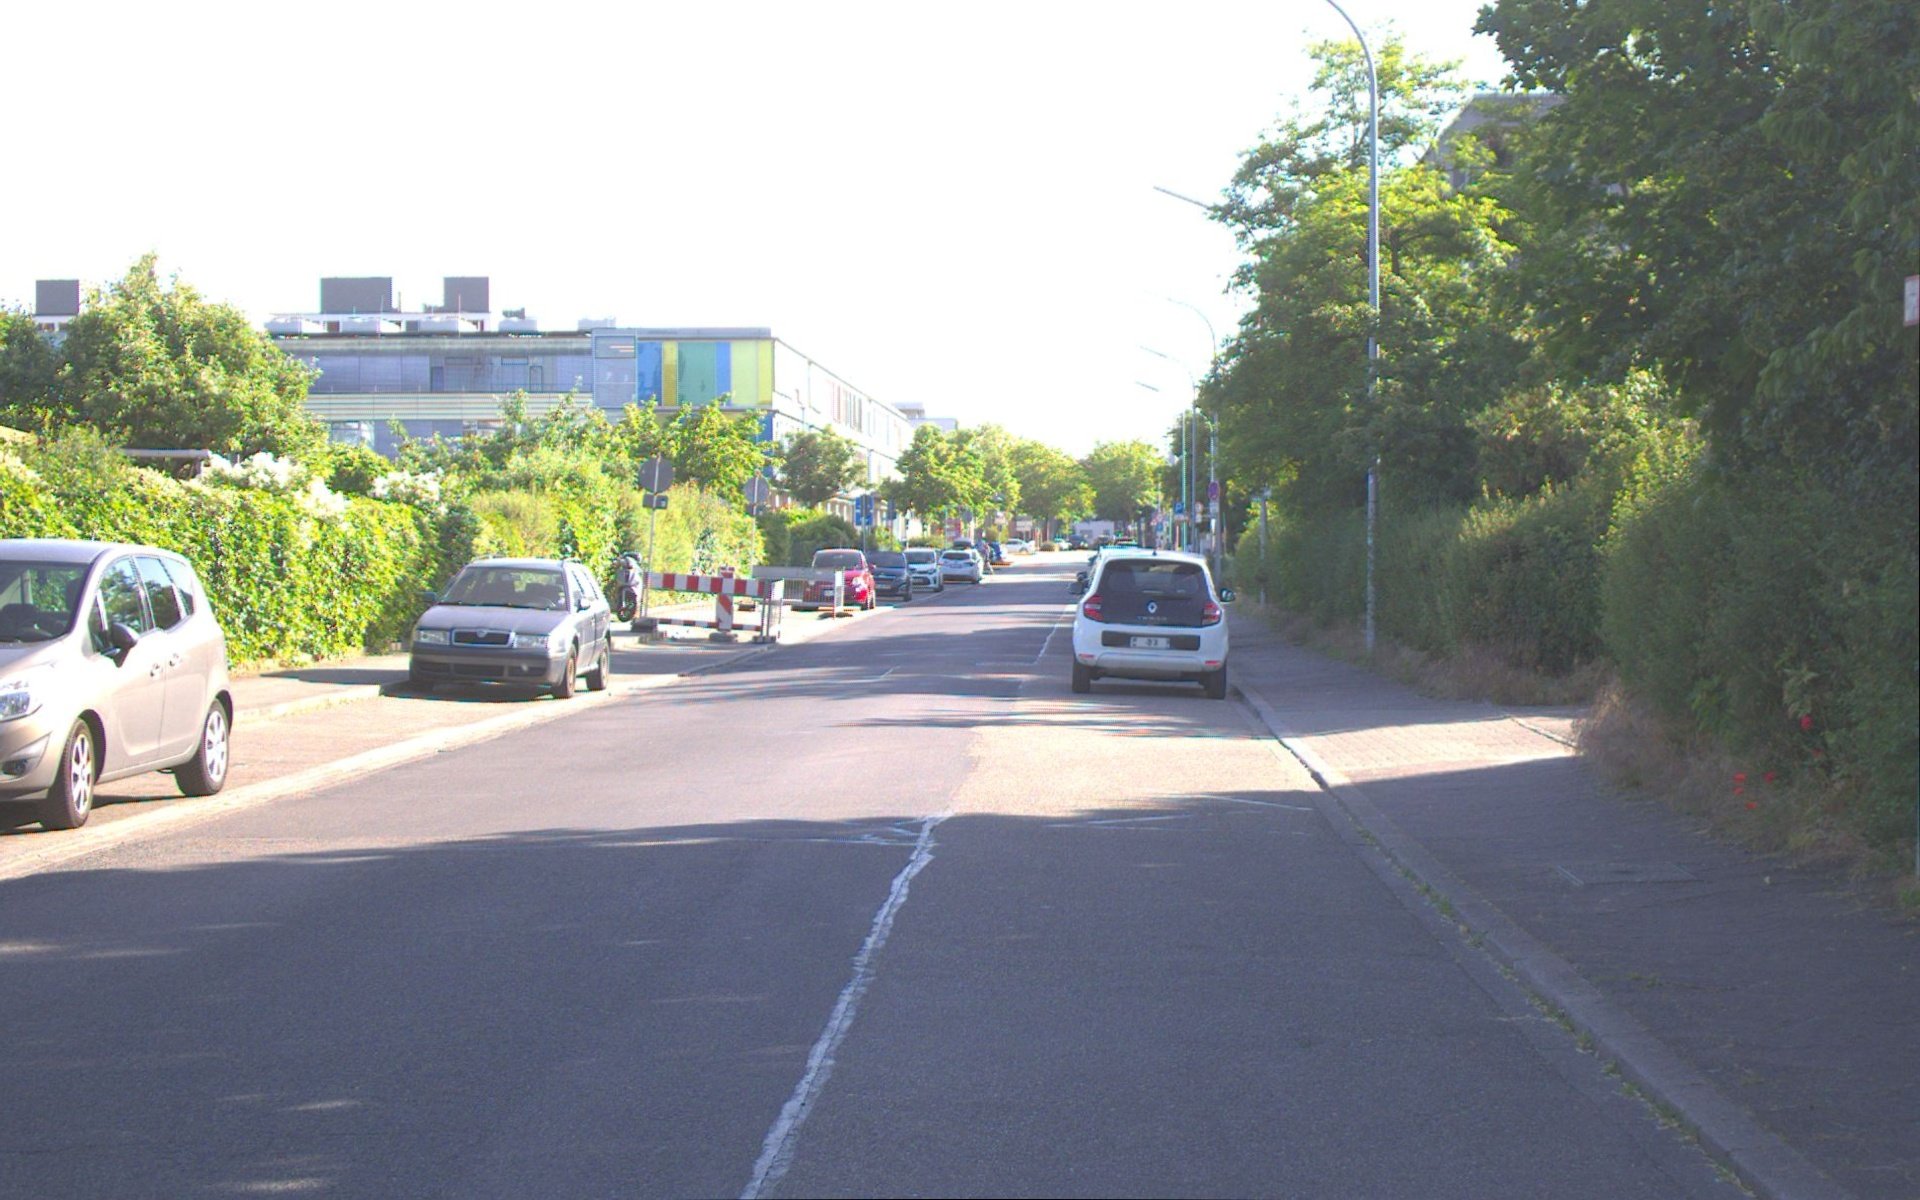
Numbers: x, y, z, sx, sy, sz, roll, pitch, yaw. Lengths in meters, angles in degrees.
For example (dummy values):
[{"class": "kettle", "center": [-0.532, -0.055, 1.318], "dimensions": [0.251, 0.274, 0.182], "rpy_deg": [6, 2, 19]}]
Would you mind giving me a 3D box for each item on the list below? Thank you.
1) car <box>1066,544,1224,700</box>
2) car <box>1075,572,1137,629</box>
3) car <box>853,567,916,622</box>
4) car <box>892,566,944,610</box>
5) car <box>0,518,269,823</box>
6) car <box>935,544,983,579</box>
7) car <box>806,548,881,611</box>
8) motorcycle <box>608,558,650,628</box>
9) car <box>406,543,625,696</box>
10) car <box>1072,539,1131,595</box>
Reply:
[{"class": "car", "center": [2.015, 0.219, 37.732], "dimensions": [1.556, 1.533, 3.555], "rpy_deg": [4, 0, 3]}, {"class": "car", "center": [4.288, -0.001, 100.552], "dimensions": [1.623, 1.521, 3.901], "rpy_deg": [4, 0, 3]}, {"class": "car", "center": [-2.253, -0.175, 102.855], "dimensions": [1.560, 1.489, 3.570], "rpy_deg": [4, 0, 2]}, {"class": "car", "center": [-1.449, -0.419, 119.879], "dimensions": [1.560, 1.489, 3.758], "rpy_deg": [1, 0, 2]}, {"class": "car", "center": [-5.524, 0.322, 20.291], "dimensions": [1.644, 1.594, 4.311], "rpy_deg": [3, 0, 4]}, {"class": "car", "center": [-0.027, -1.659, 149.190], "dimensions": [1.854, 1.423, 4.134], "rpy_deg": [3, 0, 2]}, {"class": "car", "center": [-2.860, -0.510, 84.659], "dimensions": [1.560, 1.489, 3.570], "rpy_deg": [1, 0, 2]}, {"class": "motorcycle", "center": [-6.144, -0.125, 63.805], "dimensions": [0.566, 1.264, 2.091], "rpy_deg": [3, 0, -1]}, {"class": "car", "center": [-4.831, 0.189, 37.886], "dimensions": [1.643, 1.551, 4.417], "rpy_deg": [1, 0, 2]}, {"class": "car", "center": [4.370, -1.021, 106.537], "dimensions": [1.676, 1.603, 4.178], "rpy_deg": [4, 0, 2]}]
